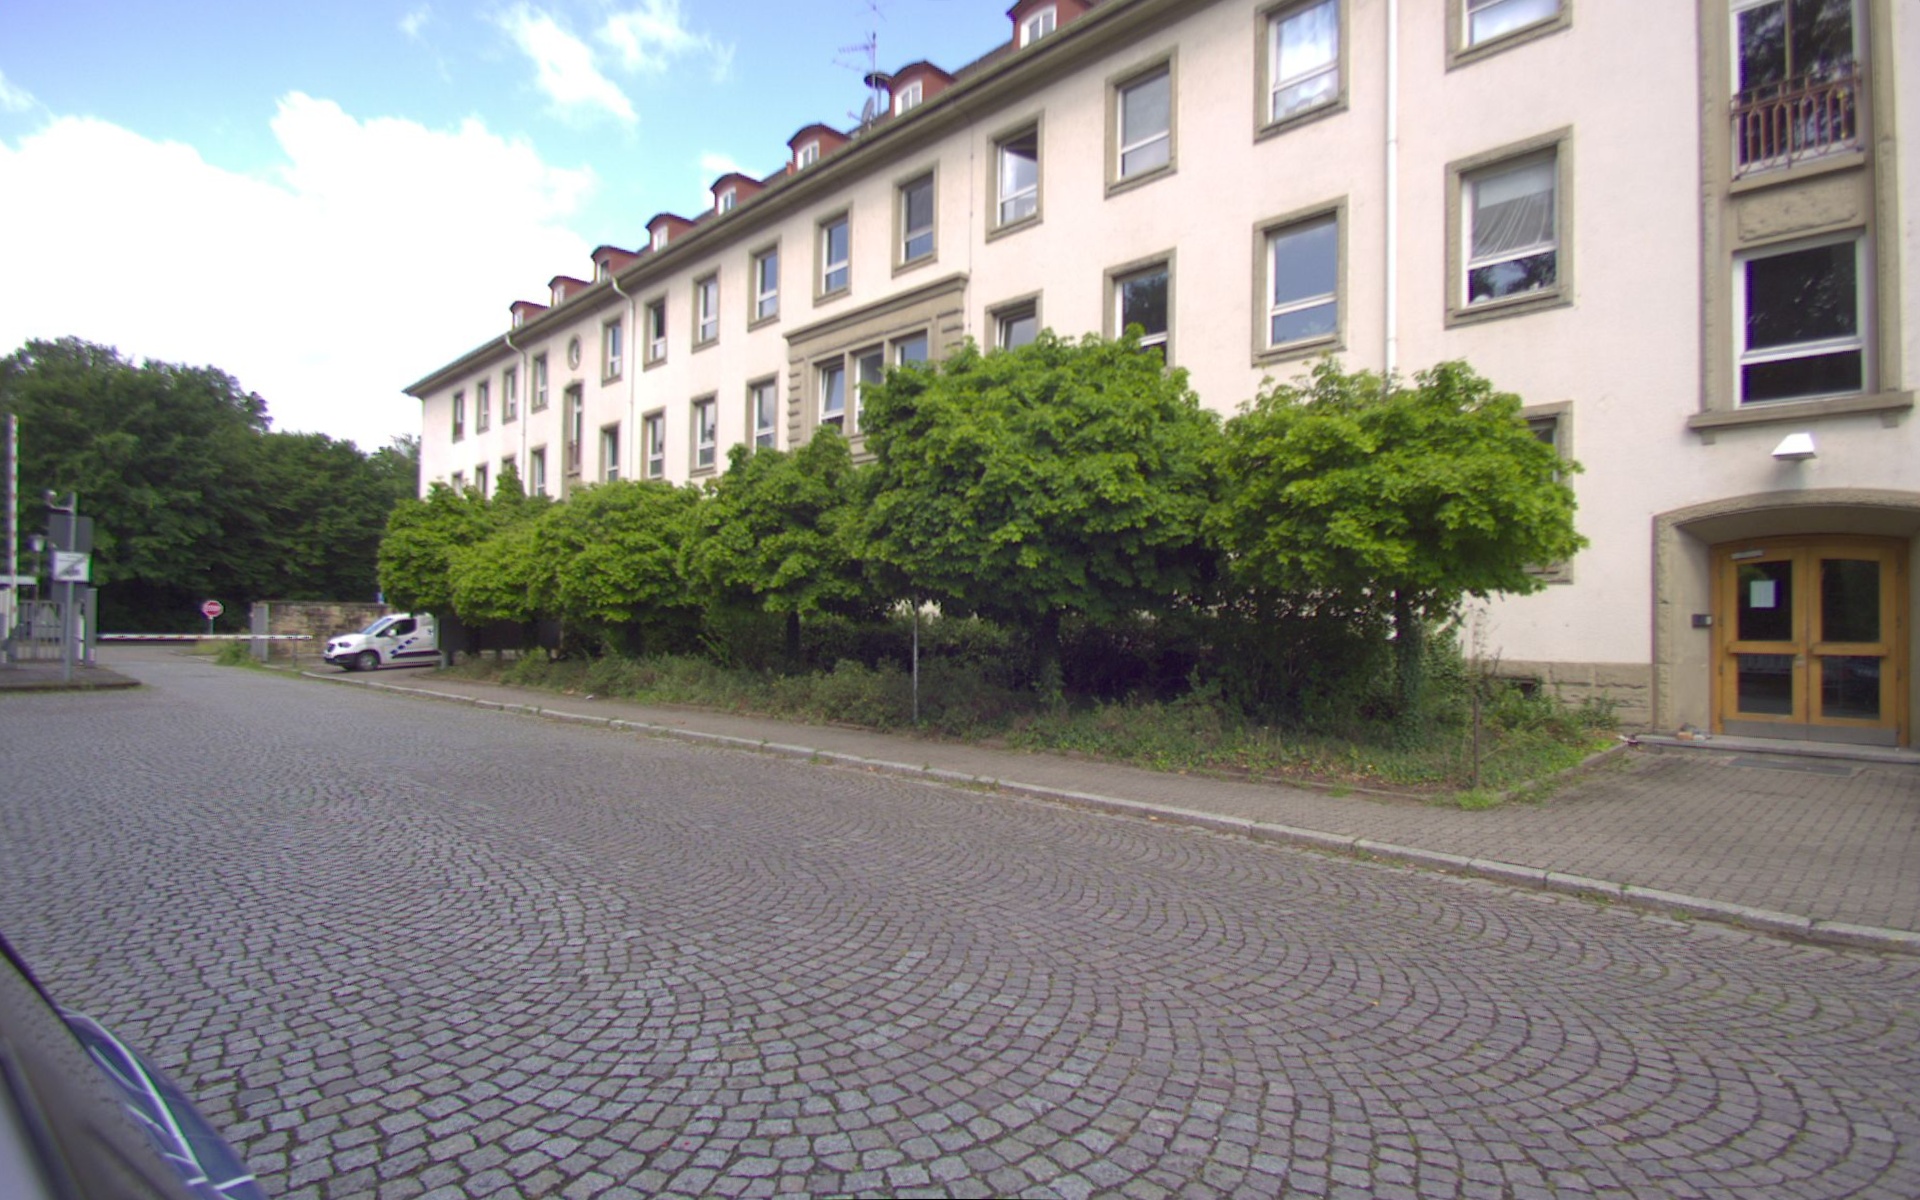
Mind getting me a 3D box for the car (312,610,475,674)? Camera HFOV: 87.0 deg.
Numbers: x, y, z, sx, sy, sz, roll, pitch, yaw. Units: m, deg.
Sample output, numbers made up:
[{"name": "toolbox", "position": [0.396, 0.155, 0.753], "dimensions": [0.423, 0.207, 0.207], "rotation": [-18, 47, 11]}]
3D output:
[{"name": "car", "position": [-18.400, 1.296, 33.011], "dimensions": [1.820, 1.819, 4.254], "rotation": [-1, 1, 43]}]
